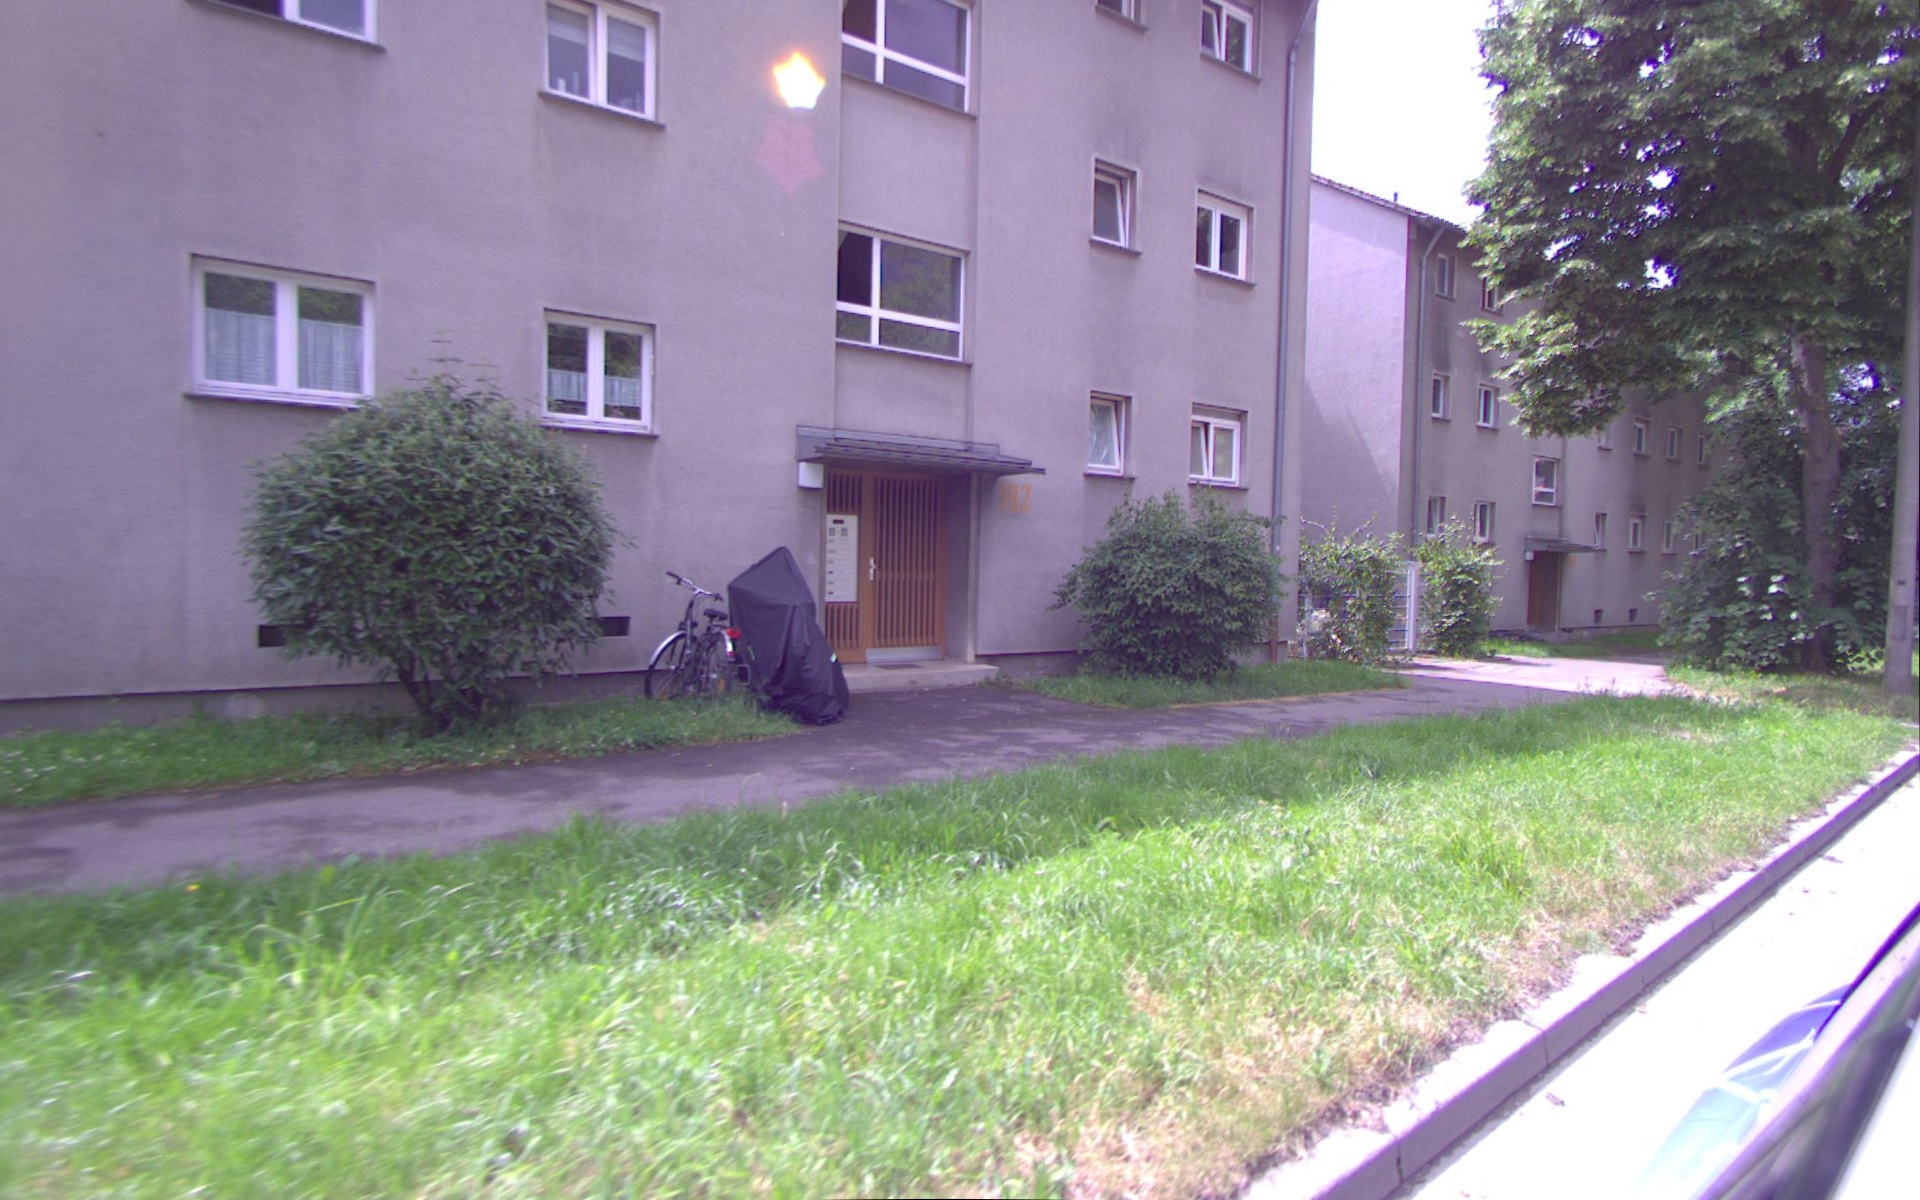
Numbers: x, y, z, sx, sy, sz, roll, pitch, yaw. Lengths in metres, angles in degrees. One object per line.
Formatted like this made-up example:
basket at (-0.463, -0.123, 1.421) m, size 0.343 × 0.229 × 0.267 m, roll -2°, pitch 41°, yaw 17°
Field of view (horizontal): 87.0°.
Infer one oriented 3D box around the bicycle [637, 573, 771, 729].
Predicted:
bicycle at (-2.131, 0.357, 8.273) m, size 0.446 × 1.098 × 1.804 m, roll 0°, pitch 2°, yaw -35°

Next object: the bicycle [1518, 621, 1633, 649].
bicycle at (13.992, 0.793, 23.082) m, size 0.659 × 0.514 × 2.214 m, roll -1°, pitch 1°, yaw -29°

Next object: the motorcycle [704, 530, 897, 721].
motorcycle at (-1.445, 0.153, 8.790) m, size 0.996 × 1.447 × 2.007 m, roll 1°, pitch 2°, yaw -29°
